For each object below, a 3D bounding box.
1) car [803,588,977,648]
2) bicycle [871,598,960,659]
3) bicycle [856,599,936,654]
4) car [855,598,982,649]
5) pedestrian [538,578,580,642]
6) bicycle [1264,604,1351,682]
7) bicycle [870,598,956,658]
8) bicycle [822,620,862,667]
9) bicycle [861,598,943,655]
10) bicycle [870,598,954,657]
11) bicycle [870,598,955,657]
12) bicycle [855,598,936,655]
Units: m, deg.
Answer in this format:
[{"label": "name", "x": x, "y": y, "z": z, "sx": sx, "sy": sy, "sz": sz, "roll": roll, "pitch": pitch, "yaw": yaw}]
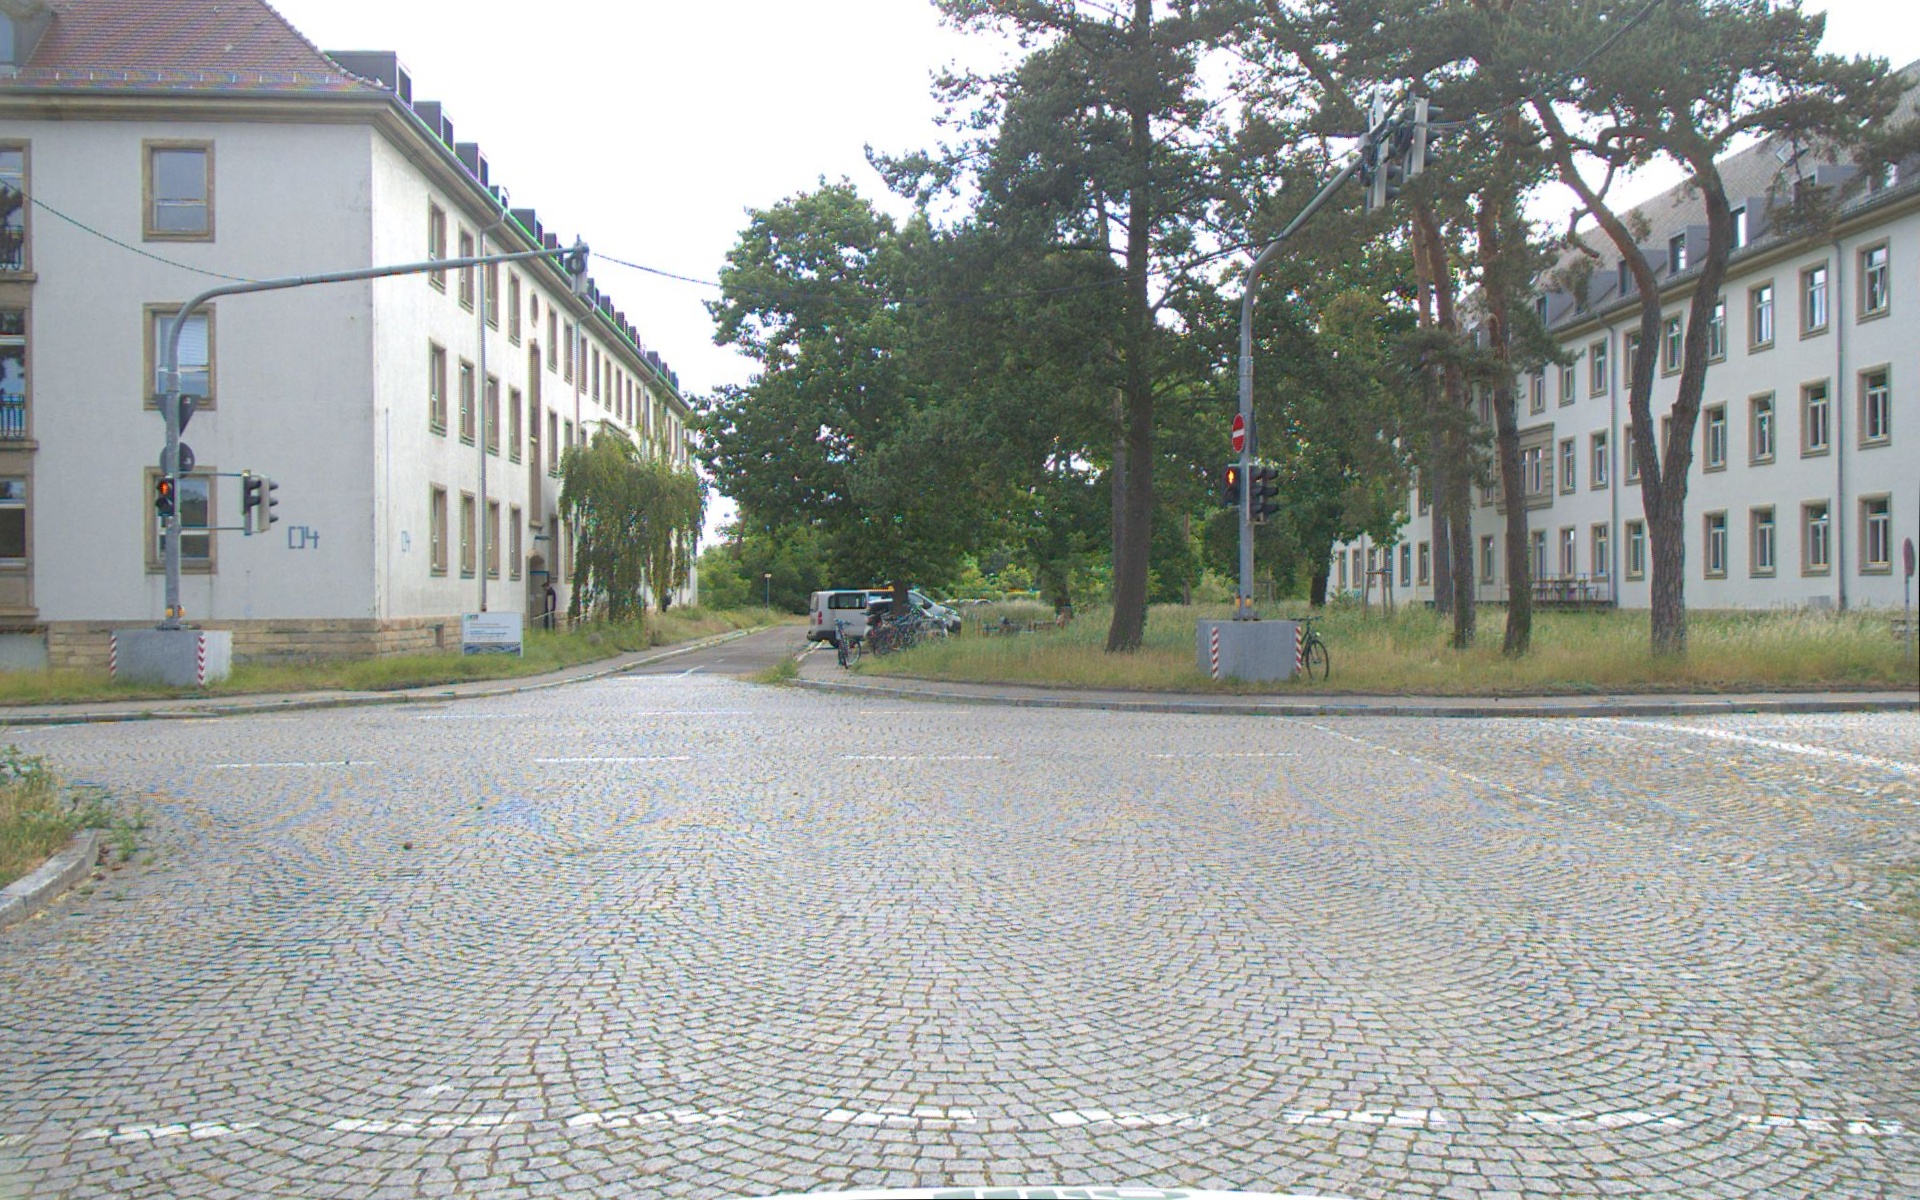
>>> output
[{"label": "car", "x": -2.401, "y": 0.587, "z": 56.284, "sx": 5.598, "sy": 1.944, "sz": 2.221, "roll": 0, "pitch": 0, "yaw": -15}, {"label": "bicycle", "x": -1.034, "y": 0.652, "z": 38.450, "sx": 2.028, "sy": 1.402, "sz": 0.620, "roll": 0, "pitch": 0, "yaw": -3}, {"label": "bicycle", "x": -1.652, "y": 0.673, "z": 42.797, "sx": 2.028, "sy": 1.402, "sz": 0.620, "roll": 0, "pitch": 0, "yaw": -3}, {"label": "car", "x": -1.353, "y": 0.729, "z": 52.966, "sx": 3.858, "sy": 1.571, "sz": 1.997, "roll": 0, "pitch": 0, "yaw": -8}, {"label": "pedestrian", "x": -12.933, "y": 0.328, "z": 53.329, "sx": 1.064, "sy": 2.049, "sz": 1.022, "roll": 0, "pitch": 0, "yaw": 2}, {"label": "bicycle", "x": 5.547, "y": 0.668, "z": 26.518, "sx": 0.890, "sy": 1.197, "sz": 1.873, "roll": 0, "pitch": 0, "yaw": -4}, {"label": "bicycle", "x": -1.111, "y": 0.655, "z": 39.117, "sx": 2.028, "sy": 1.402, "sz": 0.620, "roll": 0, "pitch": 0, "yaw": -3}, {"label": "bicycle", "x": -2.602, "y": 0.942, "z": 36.567, "sx": 0.605, "sy": 0.980, "sz": 2.077, "roll": 0, "pitch": 0, "yaw": 4}, {"label": "bicycle", "x": -1.442, "y": 0.665, "z": 41.321, "sx": 2.028, "sy": 1.402, "sz": 0.620, "roll": 0, "pitch": 0, "yaw": -3}, {"label": "bicycle", "x": -1.179, "y": 0.666, "z": 40.536, "sx": 2.028, "sy": 1.402, "sz": 0.620, "roll": 0, "pitch": 0, "yaw": -3}, {"label": "bicycle", "x": -1.147, "y": 0.660, "z": 39.740, "sx": 2.028, "sy": 1.402, "sz": 0.620, "roll": 0, "pitch": 0, "yaw": -3}, {"label": "bicycle", "x": -1.628, "y": 0.667, "z": 42.050, "sx": 2.028, "sy": 1.402, "sz": 0.620, "roll": 0, "pitch": 0, "yaw": -3}]
